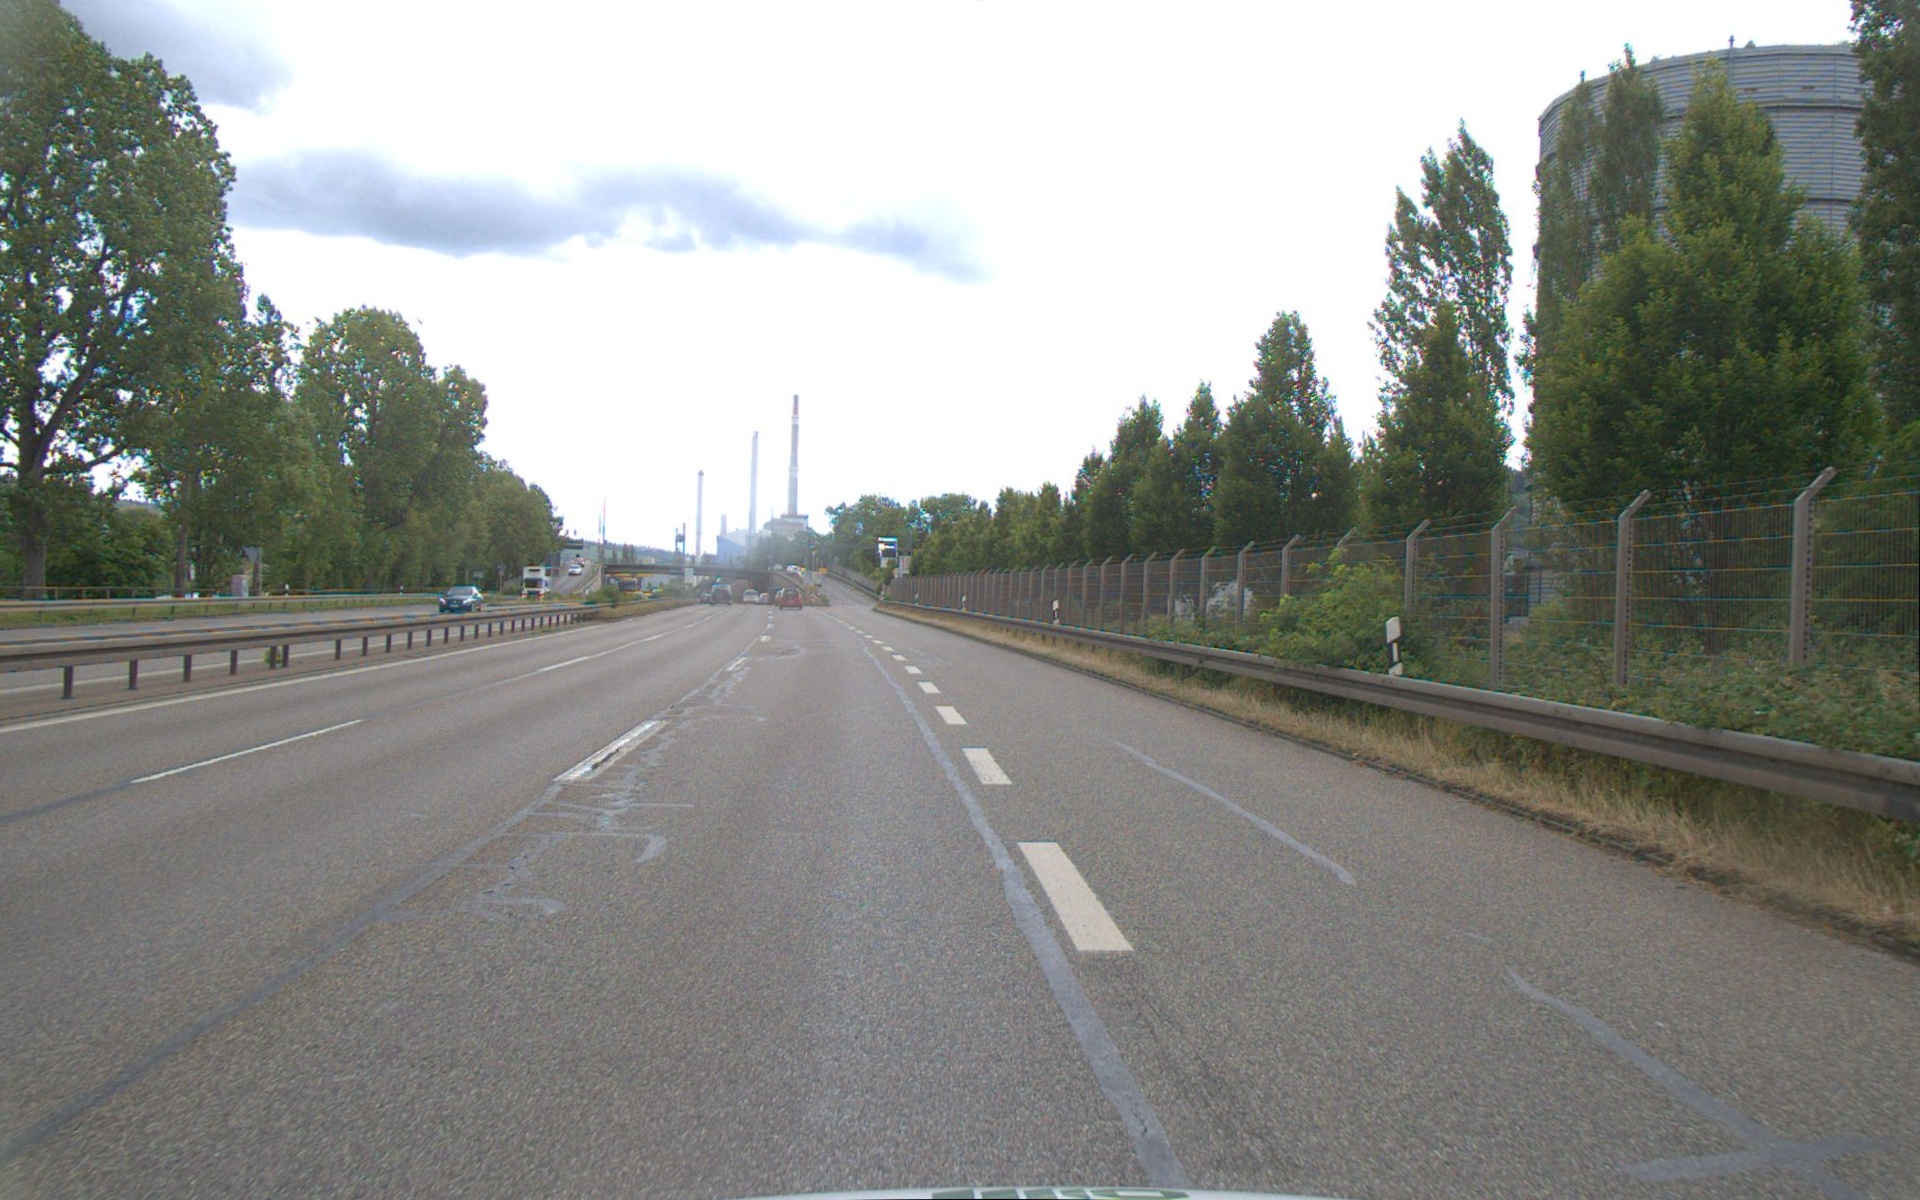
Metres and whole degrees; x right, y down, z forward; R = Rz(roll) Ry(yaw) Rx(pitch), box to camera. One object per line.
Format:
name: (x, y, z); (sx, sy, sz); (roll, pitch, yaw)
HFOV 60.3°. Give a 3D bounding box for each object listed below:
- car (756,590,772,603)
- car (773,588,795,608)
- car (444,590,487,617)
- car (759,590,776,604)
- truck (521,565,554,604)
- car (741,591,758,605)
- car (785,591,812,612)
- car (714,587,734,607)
car: (-25.079, -0.449, 211.281); (1.667, 1.582, 4.387); (1, 0, -11)
car: (-15.772, -0.190, 148.119); (1.666, 1.772, 4.384); (1, 0, -9)
car: (-27.407, 0.186, 91.839); (1.666, 1.438, 4.628); (0, 0, -9)
car: (-21.698, -0.346, 186.310); (1.666, 1.582, 4.388); (1, 0, -10)
truck: (-48.943, -1.805, 191.827); (2.838, 4.237, 14.616); (3, 0, -12)
car: (-22.008, -0.175, 172.793); (1.666, 1.414, 4.389); (1, 0, -9)
car: (-12.000, 0.104, 122.669); (1.936, 1.448, 4.894); (1, 0, -6)
car: (-21.466, -0.252, 150.176); (1.666, 1.772, 3.991); (1, 0, -10)
